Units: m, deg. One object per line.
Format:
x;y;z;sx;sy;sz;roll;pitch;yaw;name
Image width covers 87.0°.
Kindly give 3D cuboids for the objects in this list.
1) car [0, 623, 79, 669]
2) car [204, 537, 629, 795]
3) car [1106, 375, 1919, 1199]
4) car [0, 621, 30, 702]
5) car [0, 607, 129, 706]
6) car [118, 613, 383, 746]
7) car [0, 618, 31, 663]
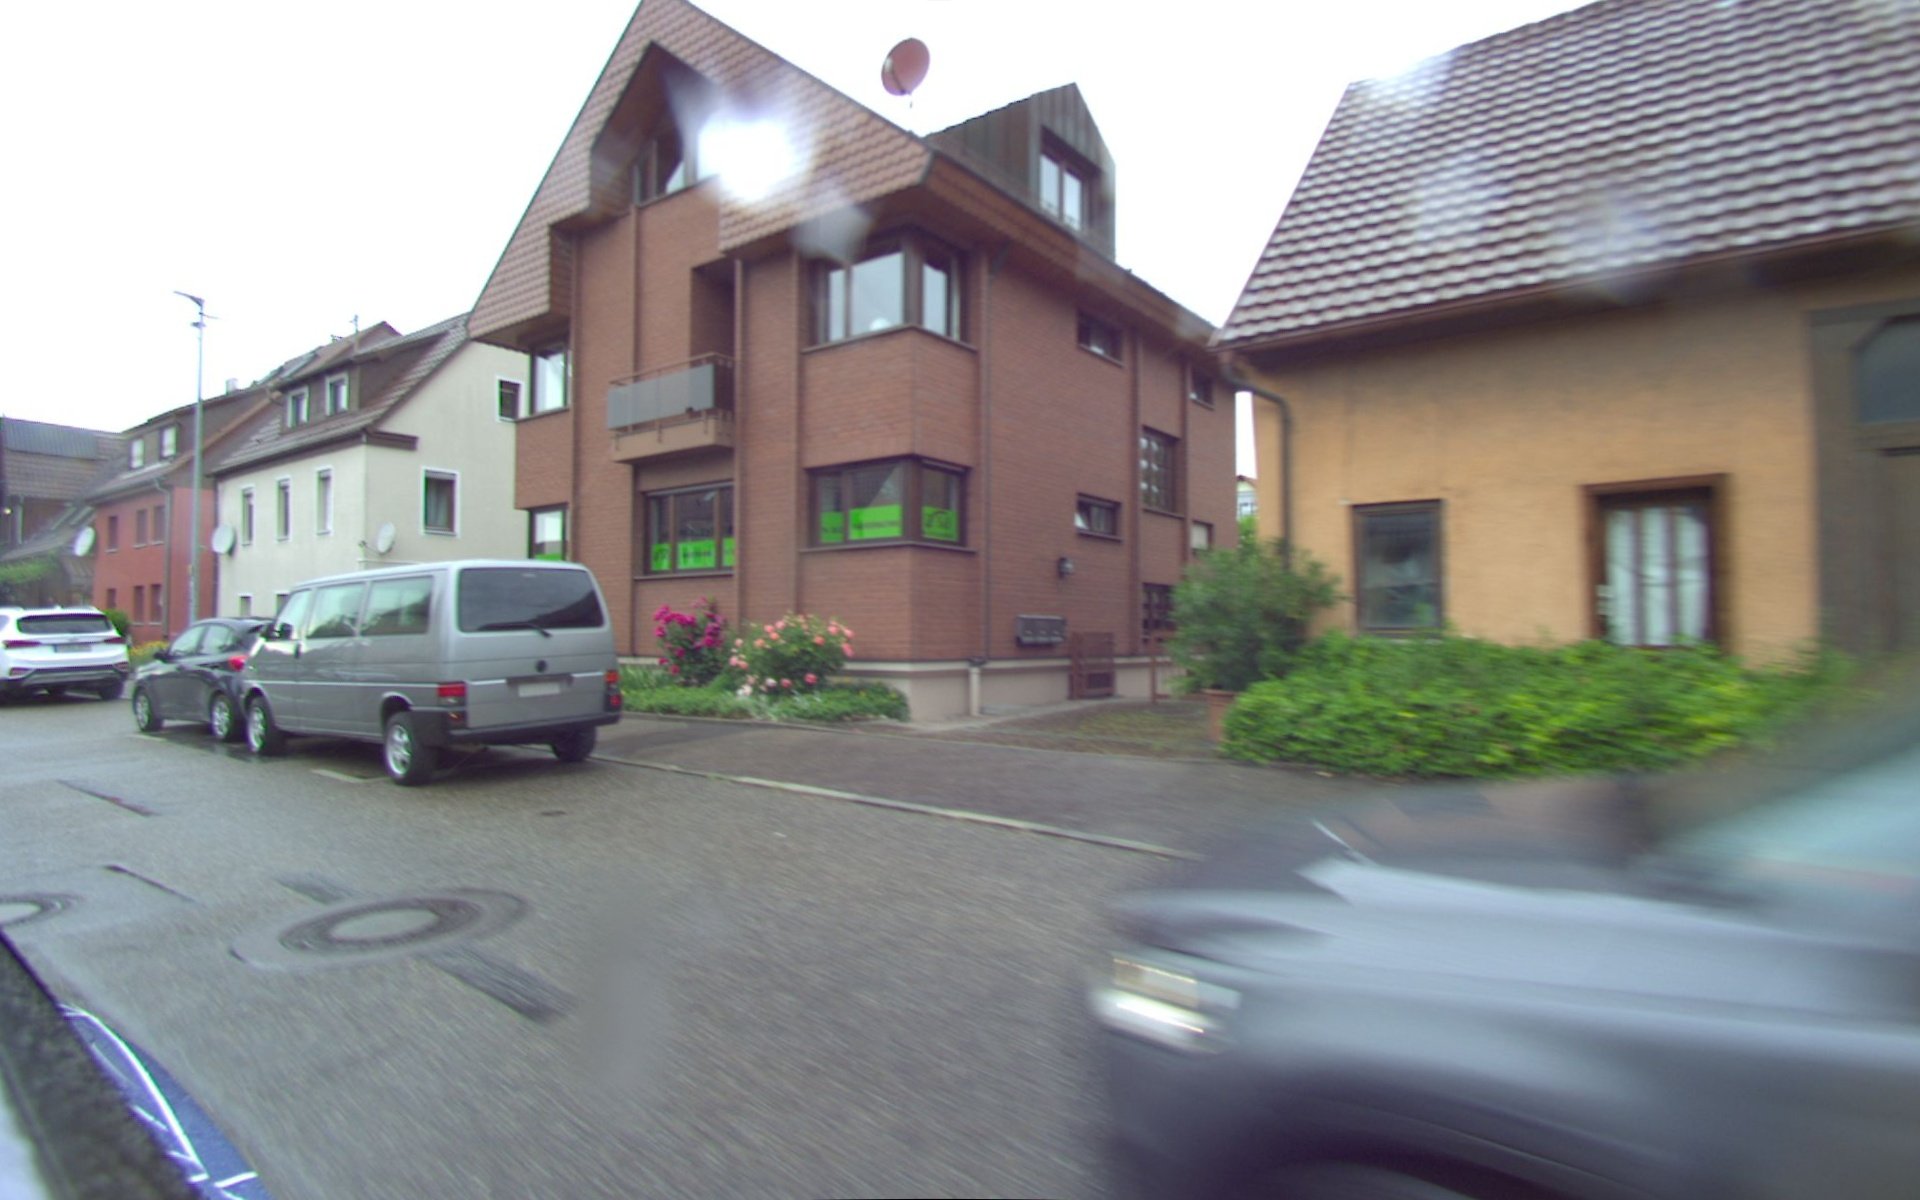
-31.725;1.508;33.602;1.586;1.490;3.432;-1;-2;34;car
-5.698;0.578;10.281;5.205;2.029;1.804;-1;-2;37;car
2.353;0.592;1.170;3.995;1.653;1.780;-1;-2;38;car
-20.984;1.259;21.077;3.267;1.630;1.592;-1;-2;33;car
-17.315;0.986;18.695;4.644;1.631;1.750;-1;-2;34;car
-9.222;0.951;13.107;3.556;1.508;1.566;-1;-2;33;car
-34.138;1.428;34.364;1.852;1.517;3.542;-1;0;37;car
